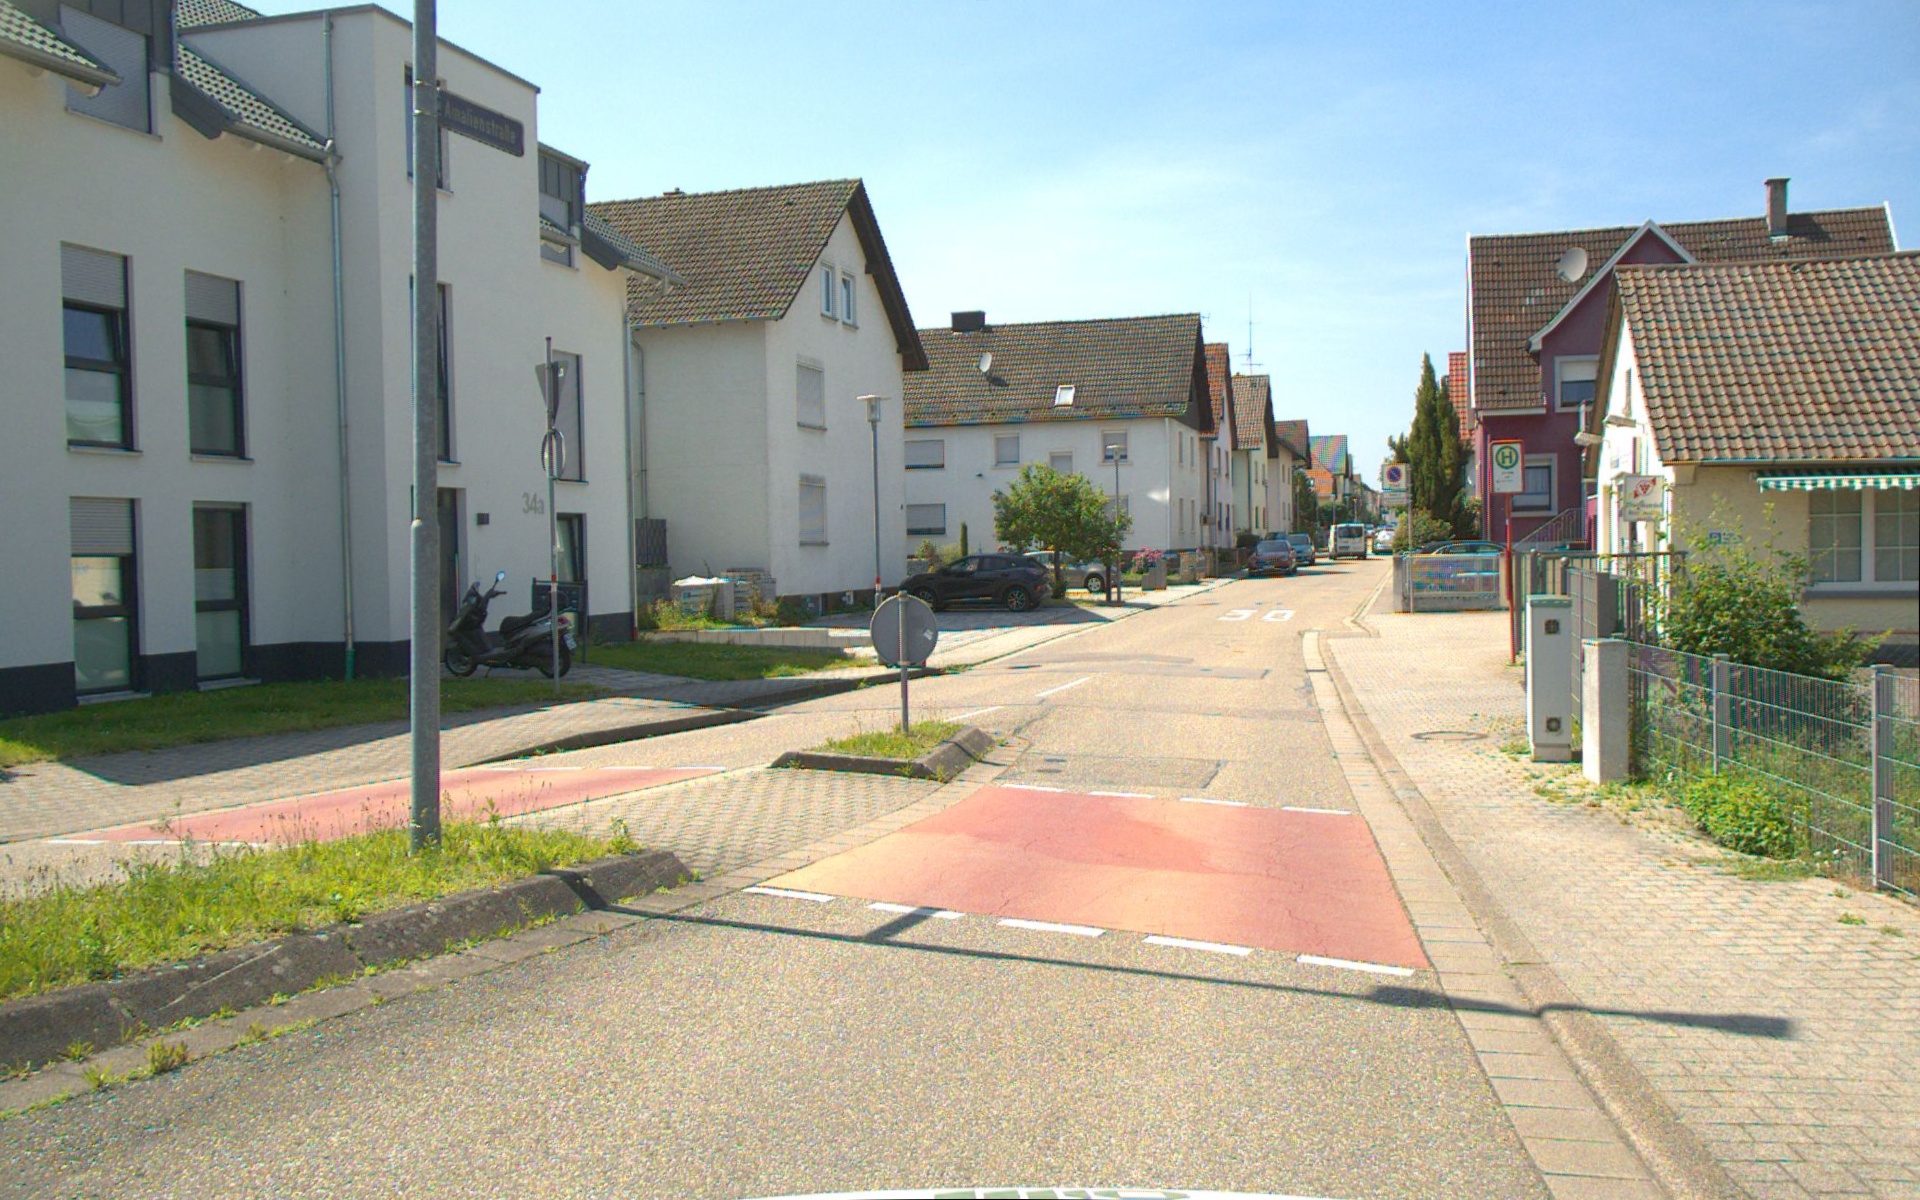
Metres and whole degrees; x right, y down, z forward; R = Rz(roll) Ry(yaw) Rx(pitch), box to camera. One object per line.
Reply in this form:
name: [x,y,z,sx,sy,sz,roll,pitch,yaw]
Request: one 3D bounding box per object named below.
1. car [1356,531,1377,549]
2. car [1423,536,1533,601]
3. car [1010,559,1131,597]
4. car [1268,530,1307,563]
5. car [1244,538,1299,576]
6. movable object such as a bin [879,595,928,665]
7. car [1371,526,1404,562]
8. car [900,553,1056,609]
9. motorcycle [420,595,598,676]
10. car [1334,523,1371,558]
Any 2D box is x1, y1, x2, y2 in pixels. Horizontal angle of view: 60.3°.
car: [43.757,-6.470,177.853,1.913,1.845,4.002,1,1,18]
car: [13.429,-0.804,42.986,2.686,1.625,1.172,-1,0,16]
car: [3.818,-0.763,56.807,3.902,1.211,1.842,0,2,13]
car: [16.927,-2.755,85.670,1.883,1.632,4.004,-1,1,10]
car: [13.495,-1.883,71.478,1.951,1.580,4.003,0,2,16]
movable object such as a bin: [-0.904,0.474,26.546,0.632,1.102,0.459,0,1,23]
car: [26.814,-3.496,103.745,1.910,2.109,4.003,-1,0,15]
car: [0.504,-0.517,44.254,3.902,1.407,1.662,-1,1,13]
motorcycle: [-5.980,0.462,21.932,2.312,1.031,0.672,0,0,19]
car: [21.903,-3.293,92.275,1.812,1.818,4.003,-1,0,16]
